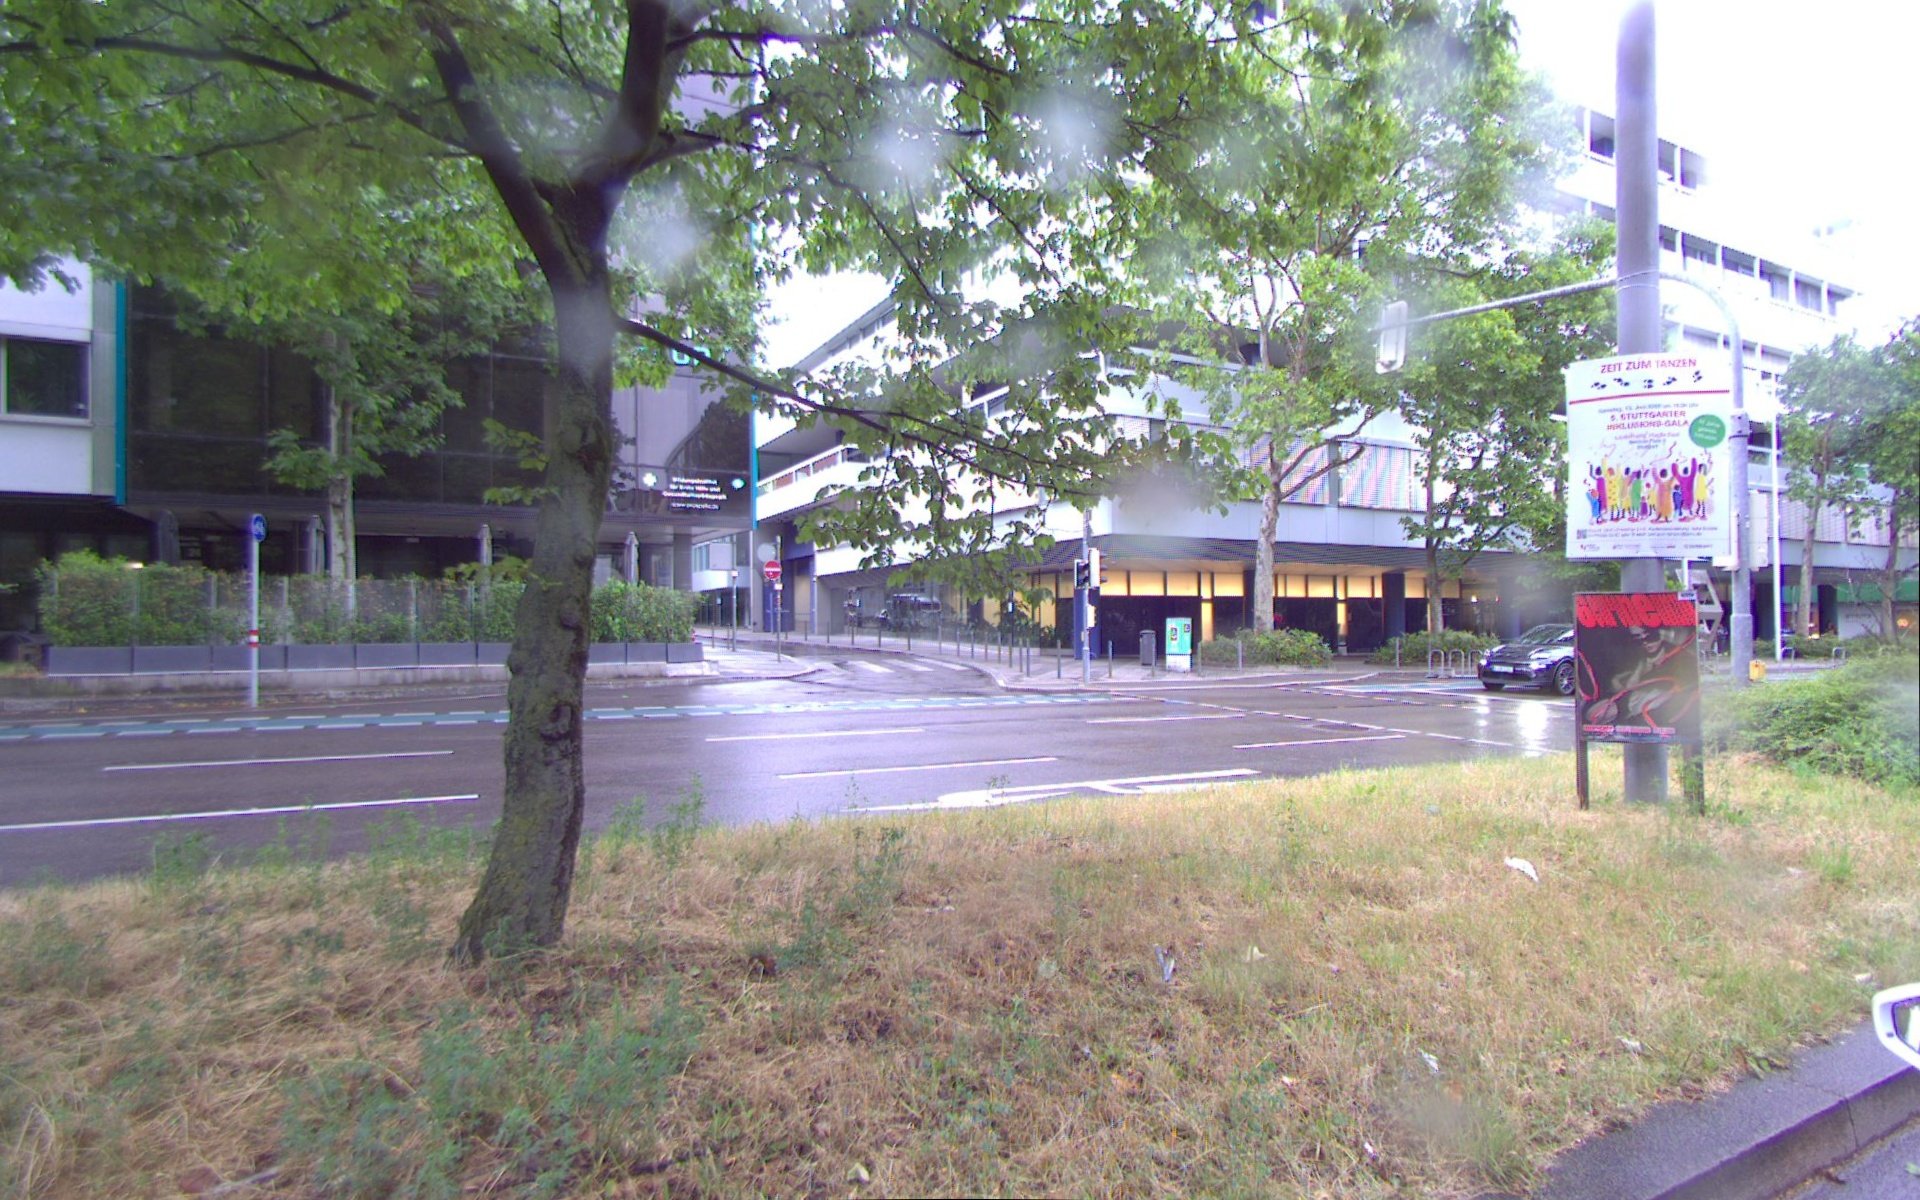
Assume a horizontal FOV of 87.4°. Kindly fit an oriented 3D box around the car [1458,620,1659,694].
[{"bbox_3d":[14.520,1.362,24.349,4.683,1.605,1.903,2,0,-26],"label":"car"}]

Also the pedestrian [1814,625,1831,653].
[{"bbox_3d":[47.691,2.172,55.526,0.570,1.502,0.604,2,0,-40],"label":"pedestrian"}]

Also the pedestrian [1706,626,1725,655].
[{"bbox_3d":[37.223,1.975,49.463,0.470,1.398,0.632,2,0,-40],"label":"pedestrian"}]
